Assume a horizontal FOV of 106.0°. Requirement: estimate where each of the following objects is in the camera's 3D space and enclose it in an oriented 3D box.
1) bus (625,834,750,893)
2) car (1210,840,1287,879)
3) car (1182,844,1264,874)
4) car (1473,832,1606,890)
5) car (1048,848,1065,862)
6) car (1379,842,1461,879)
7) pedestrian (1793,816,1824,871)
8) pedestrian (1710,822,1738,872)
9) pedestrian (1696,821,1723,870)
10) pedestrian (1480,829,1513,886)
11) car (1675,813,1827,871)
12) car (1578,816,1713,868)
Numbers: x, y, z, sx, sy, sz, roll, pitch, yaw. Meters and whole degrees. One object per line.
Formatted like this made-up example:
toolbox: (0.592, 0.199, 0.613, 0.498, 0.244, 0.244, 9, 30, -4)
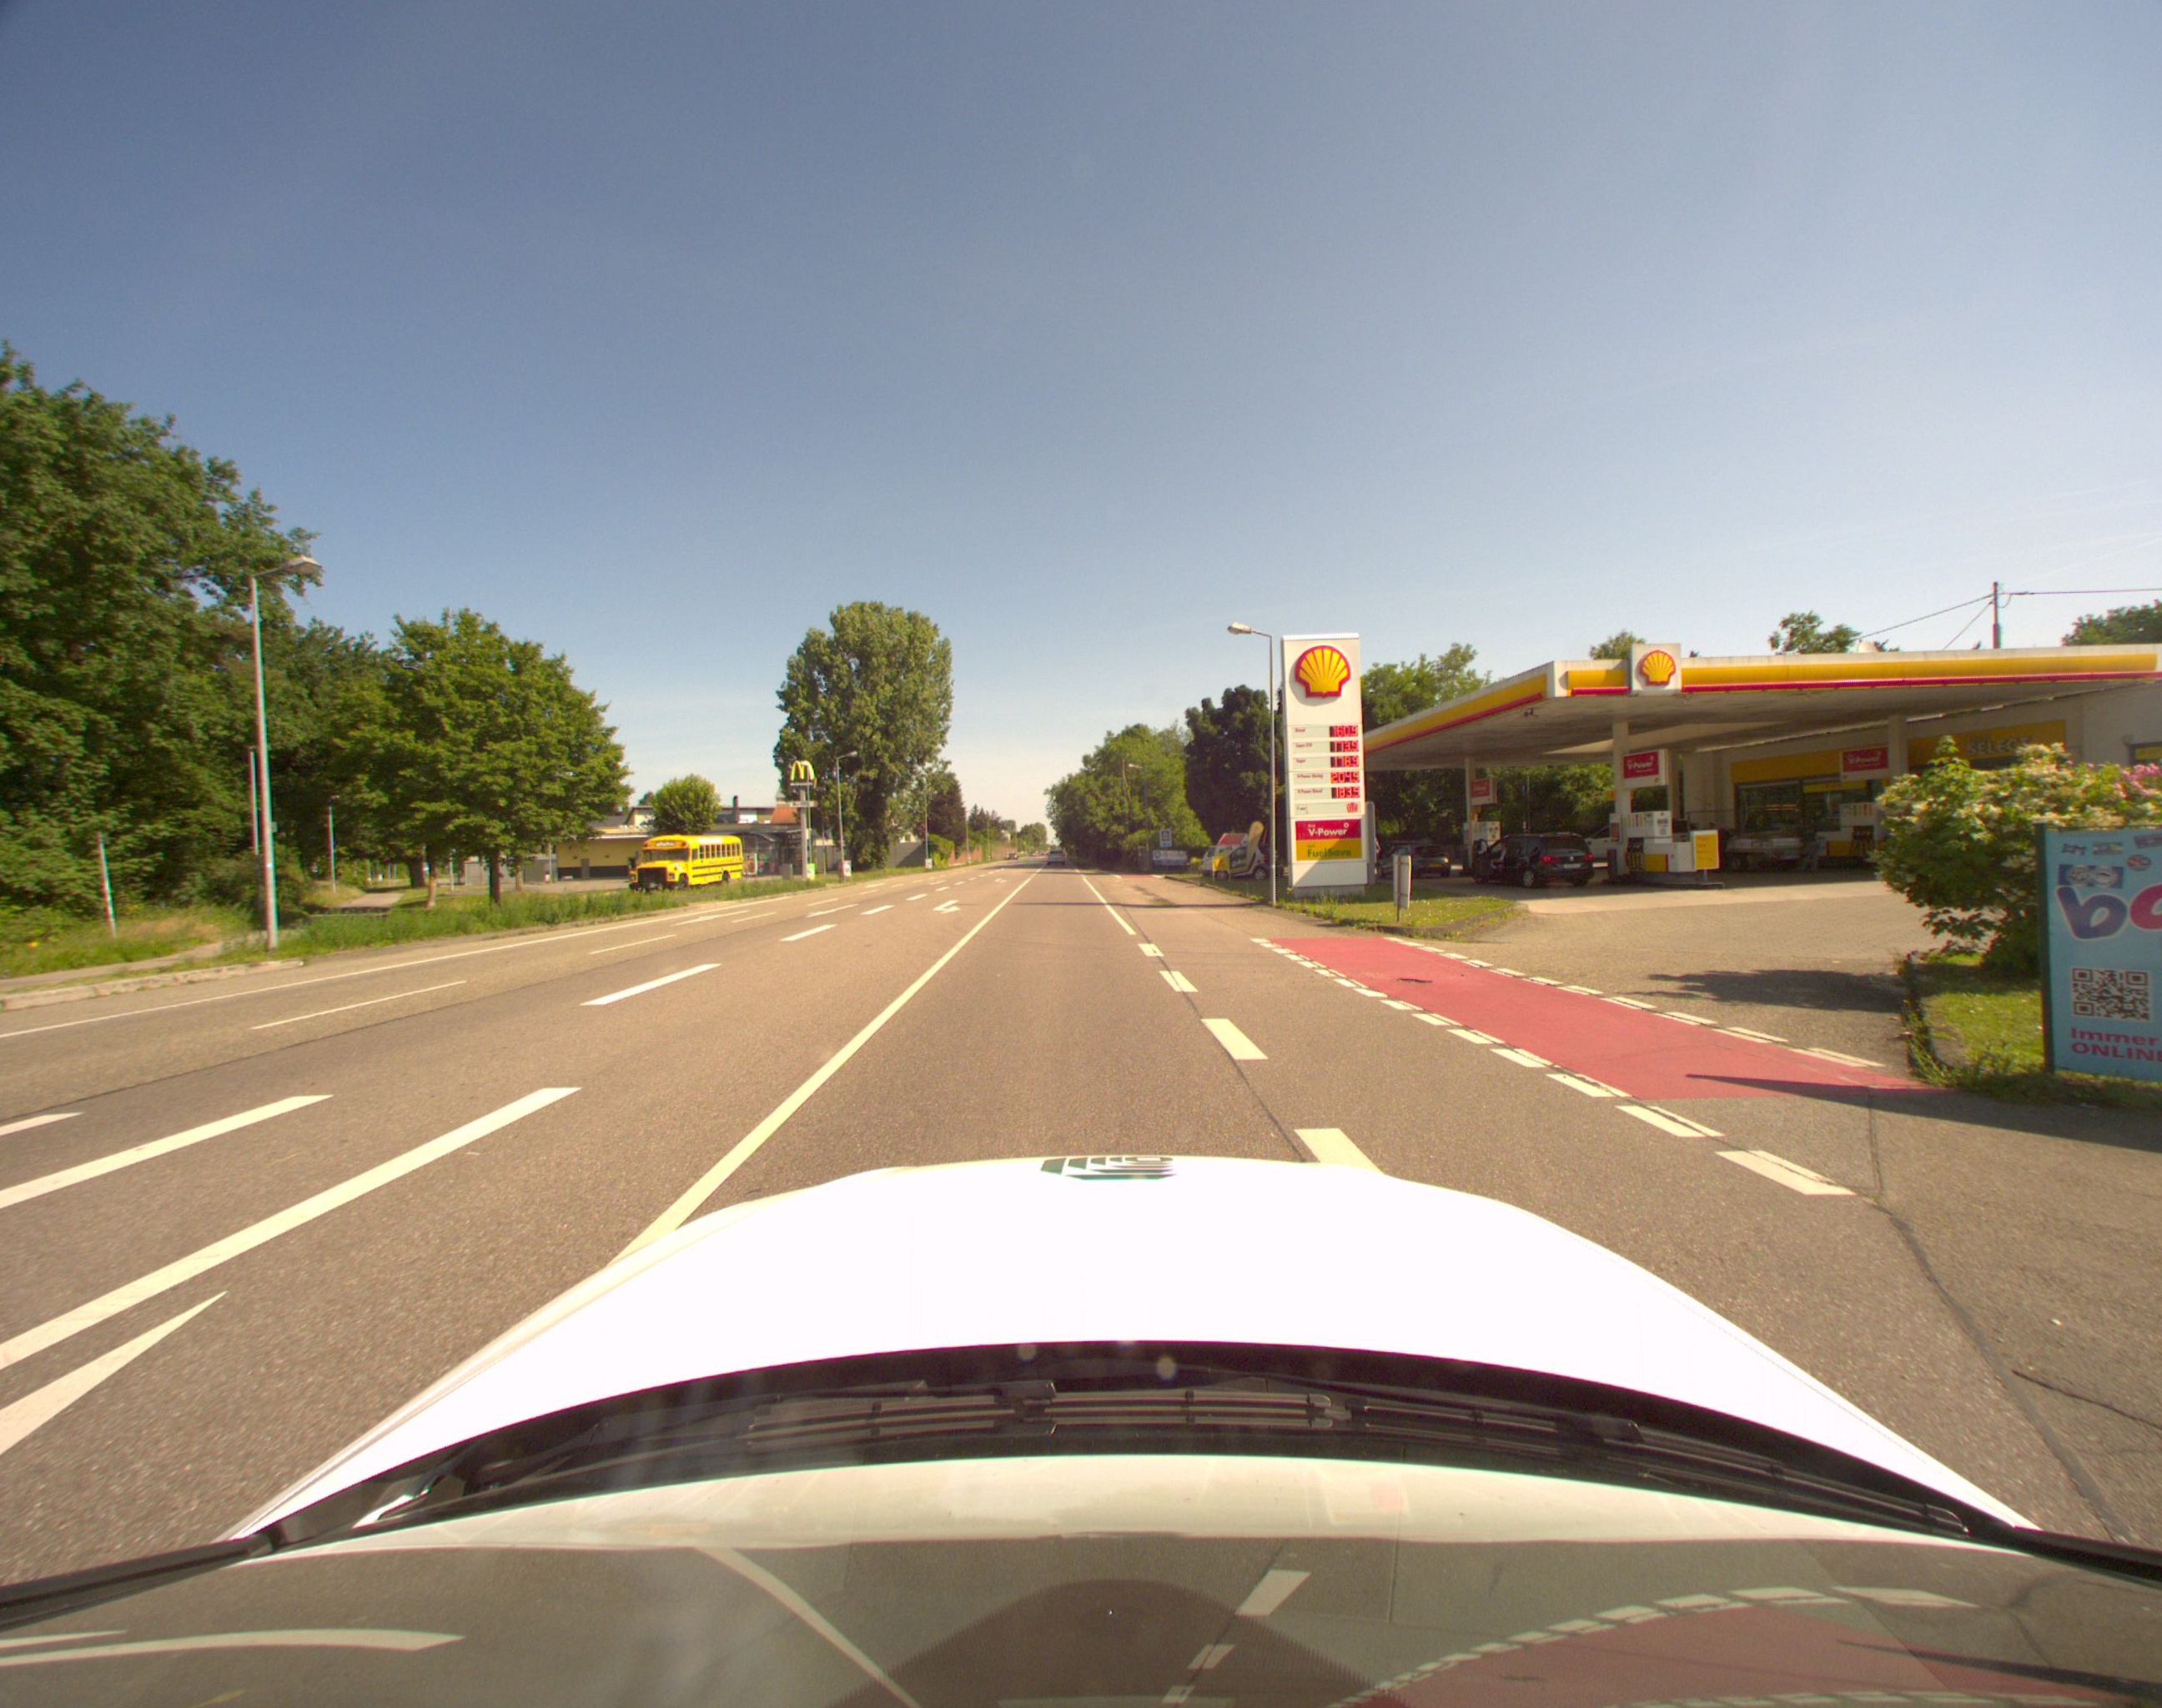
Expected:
bus: (-20.068, 0.456, 42.267, 2.573, 2.679, 8.986, 0, 0, -3)
car: (6.945, 0.262, 33.844, 2.696, 1.530, 1.587, -2, -2, 43)
car: (7.420, 0.264, 42.702, 3.985, 1.530, 1.581, 0, 0, -9)
car: (13.928, 0.181, 25.008, 1.755, 1.578, 3.873, -2, 0, -3)
car: (-2.613, 0.122, 87.510, 1.841, 1.541, 4.222, 0, 0, -1)
car: (13.692, 0.239, 33.109, 1.791, 1.360, 3.849, -2, 0, 1)
pedestrian: (22.489, -0.310, 25.182, 0.472, 1.668, 0.501, -2, 0, 0)
pedestrian: (21.090, -0.225, 26.707, 0.497, 1.593, 0.476, -2, 0, 2)
pedestrian: (21.185, -0.276, 27.472, 0.497, 1.631, 0.476, -2, 0, 2)
pedestrian: (13.019, 0.099, 25.530, 0.668, 1.729, 0.814, -2, 0, 8)
car: (22.212, -0.360, 27.227, 1.820, 1.728, 4.002, -2, 0, 2)
car: (22.260, -0.462, 32.371, 1.847, 1.837, 4.775, -2, 0, -3)
